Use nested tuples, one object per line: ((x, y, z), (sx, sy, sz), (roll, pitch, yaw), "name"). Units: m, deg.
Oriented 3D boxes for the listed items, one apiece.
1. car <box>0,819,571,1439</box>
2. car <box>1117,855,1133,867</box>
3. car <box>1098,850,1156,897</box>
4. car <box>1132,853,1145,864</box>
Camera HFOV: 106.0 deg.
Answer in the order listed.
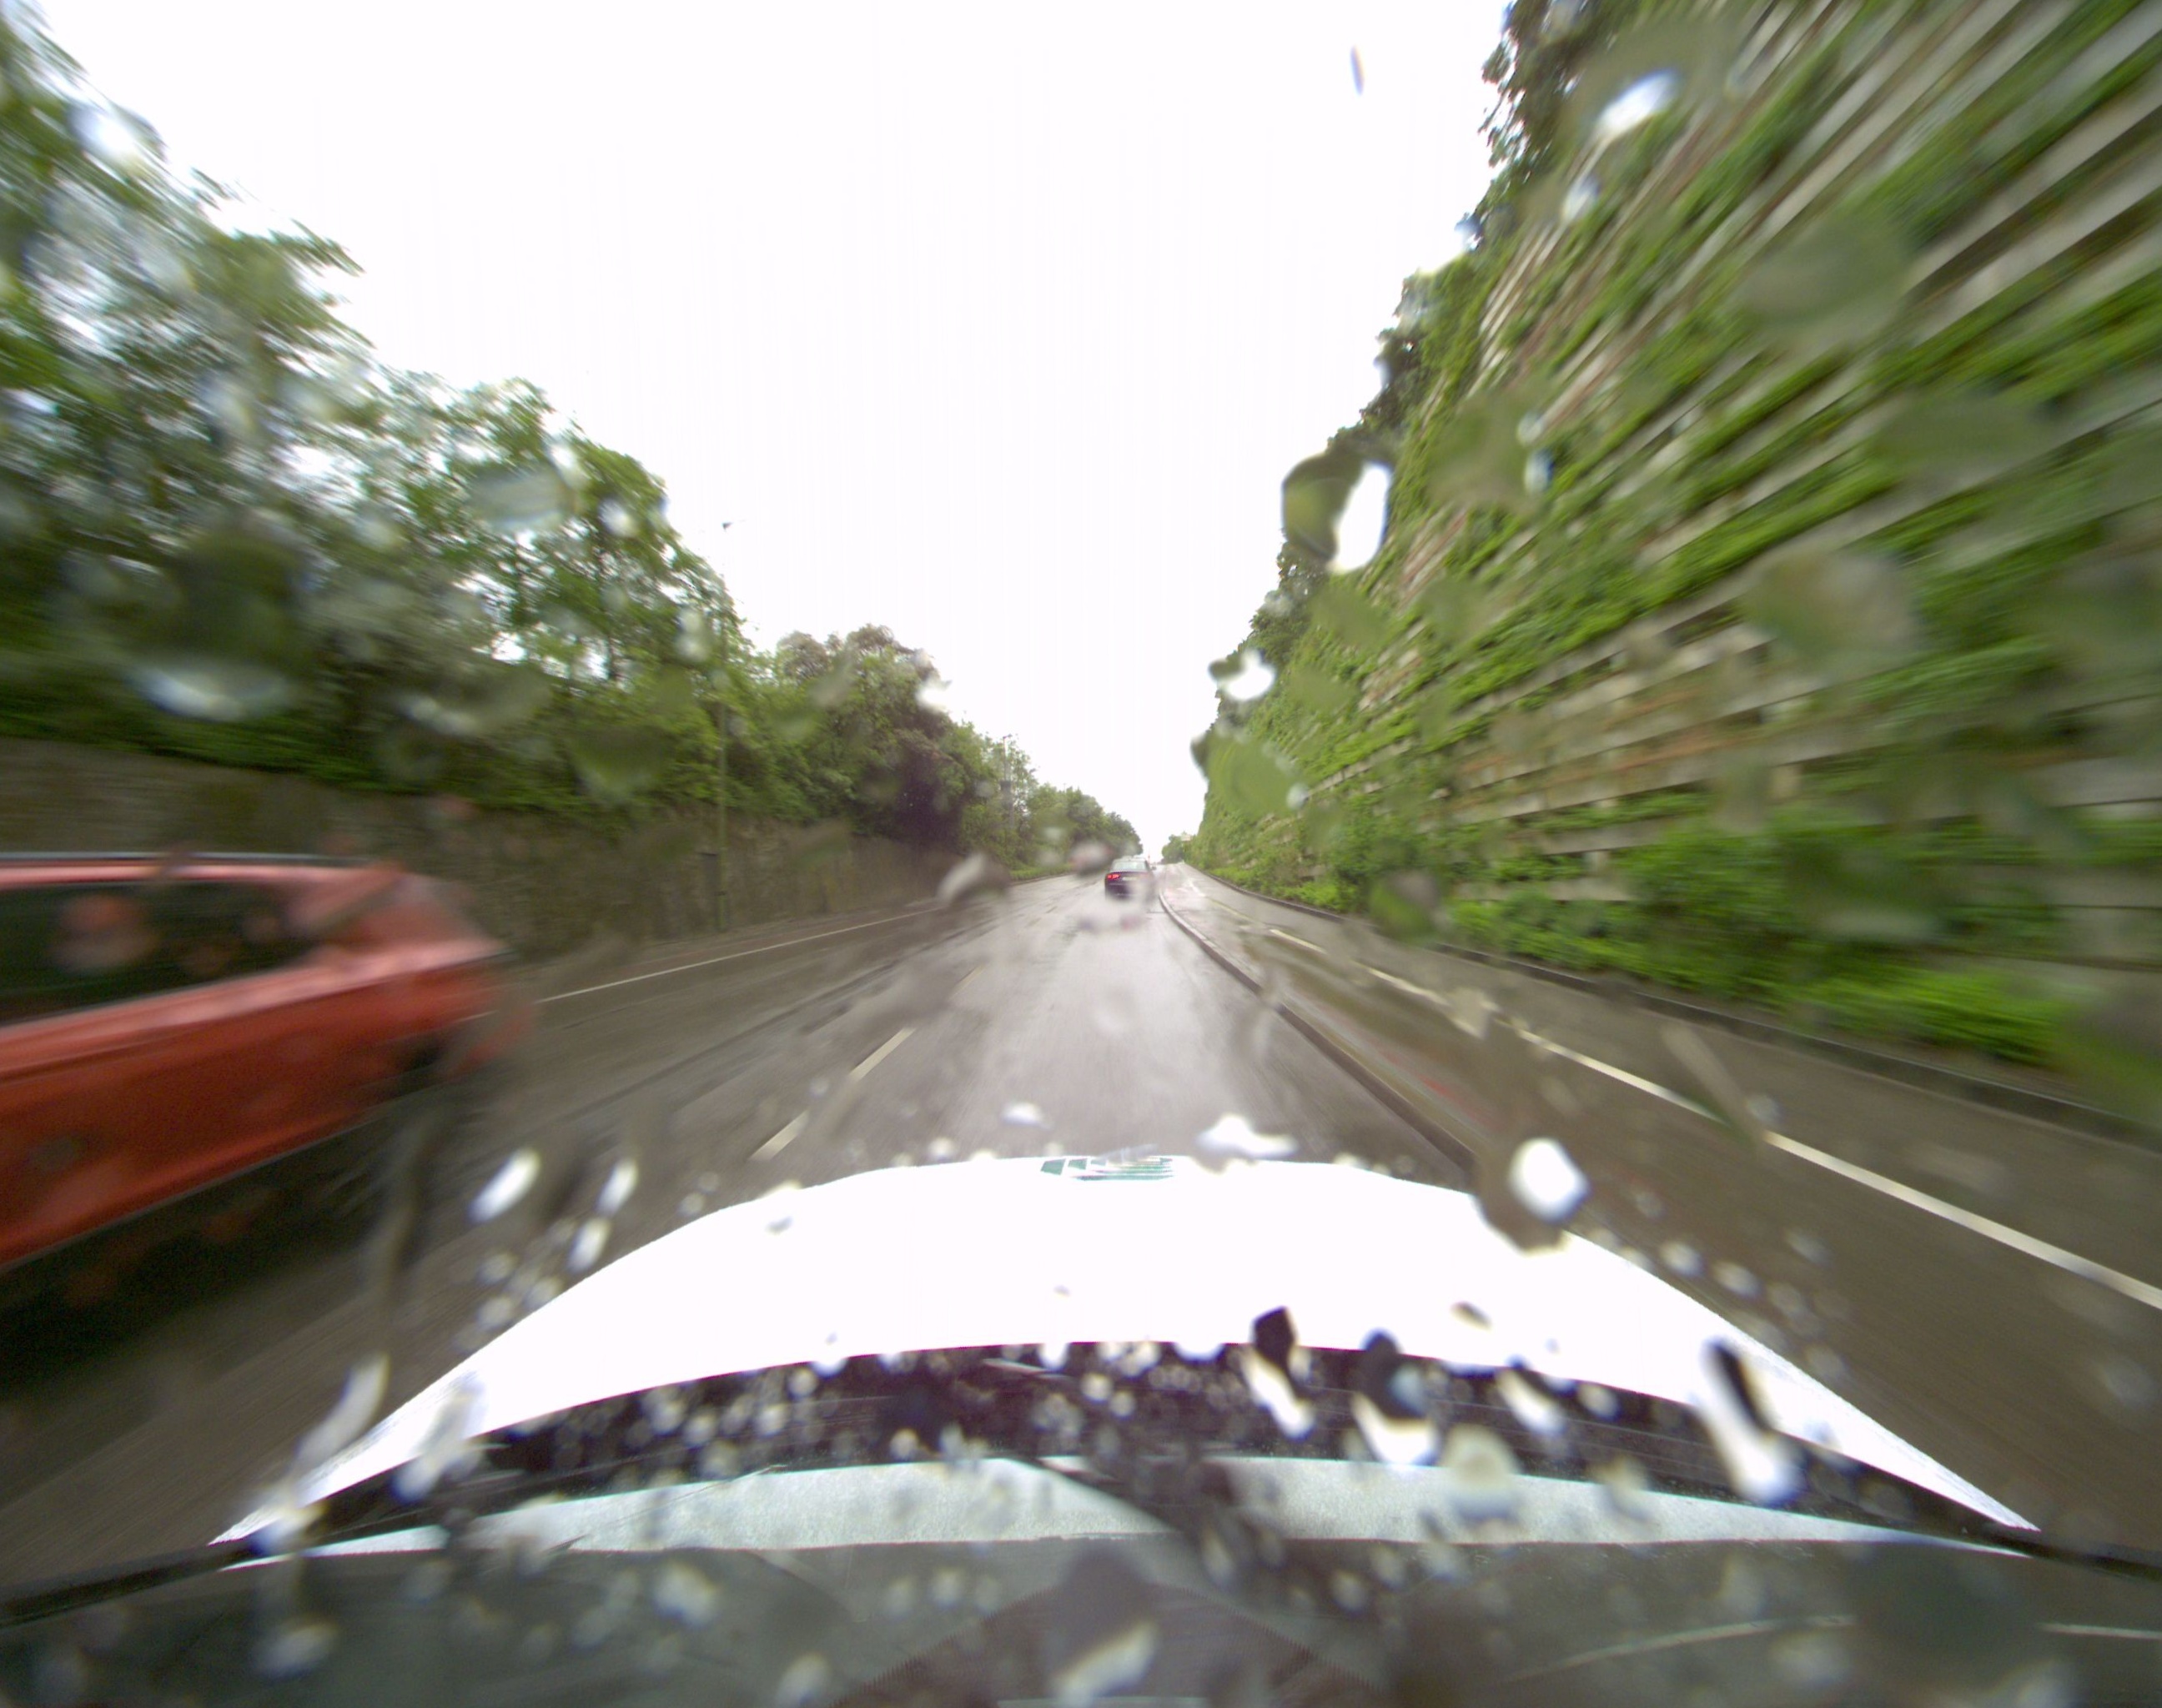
((-3.707, 0.763, 2.420), (1.726, 1.618, 4.001), (-3, -1, 1), "car")
((5.717, 0.863, 104.860), (1.856, 1.449, 4.383), (-3, 0, 4), "car")
((1.682, 0.700, 29.846), (1.885, 1.492, 4.210), (-3, -1, 3), "car")
((9.409, 0.729, 133.009), (1.813, 1.615, 4.101), (-3, 0, 7), "car")
